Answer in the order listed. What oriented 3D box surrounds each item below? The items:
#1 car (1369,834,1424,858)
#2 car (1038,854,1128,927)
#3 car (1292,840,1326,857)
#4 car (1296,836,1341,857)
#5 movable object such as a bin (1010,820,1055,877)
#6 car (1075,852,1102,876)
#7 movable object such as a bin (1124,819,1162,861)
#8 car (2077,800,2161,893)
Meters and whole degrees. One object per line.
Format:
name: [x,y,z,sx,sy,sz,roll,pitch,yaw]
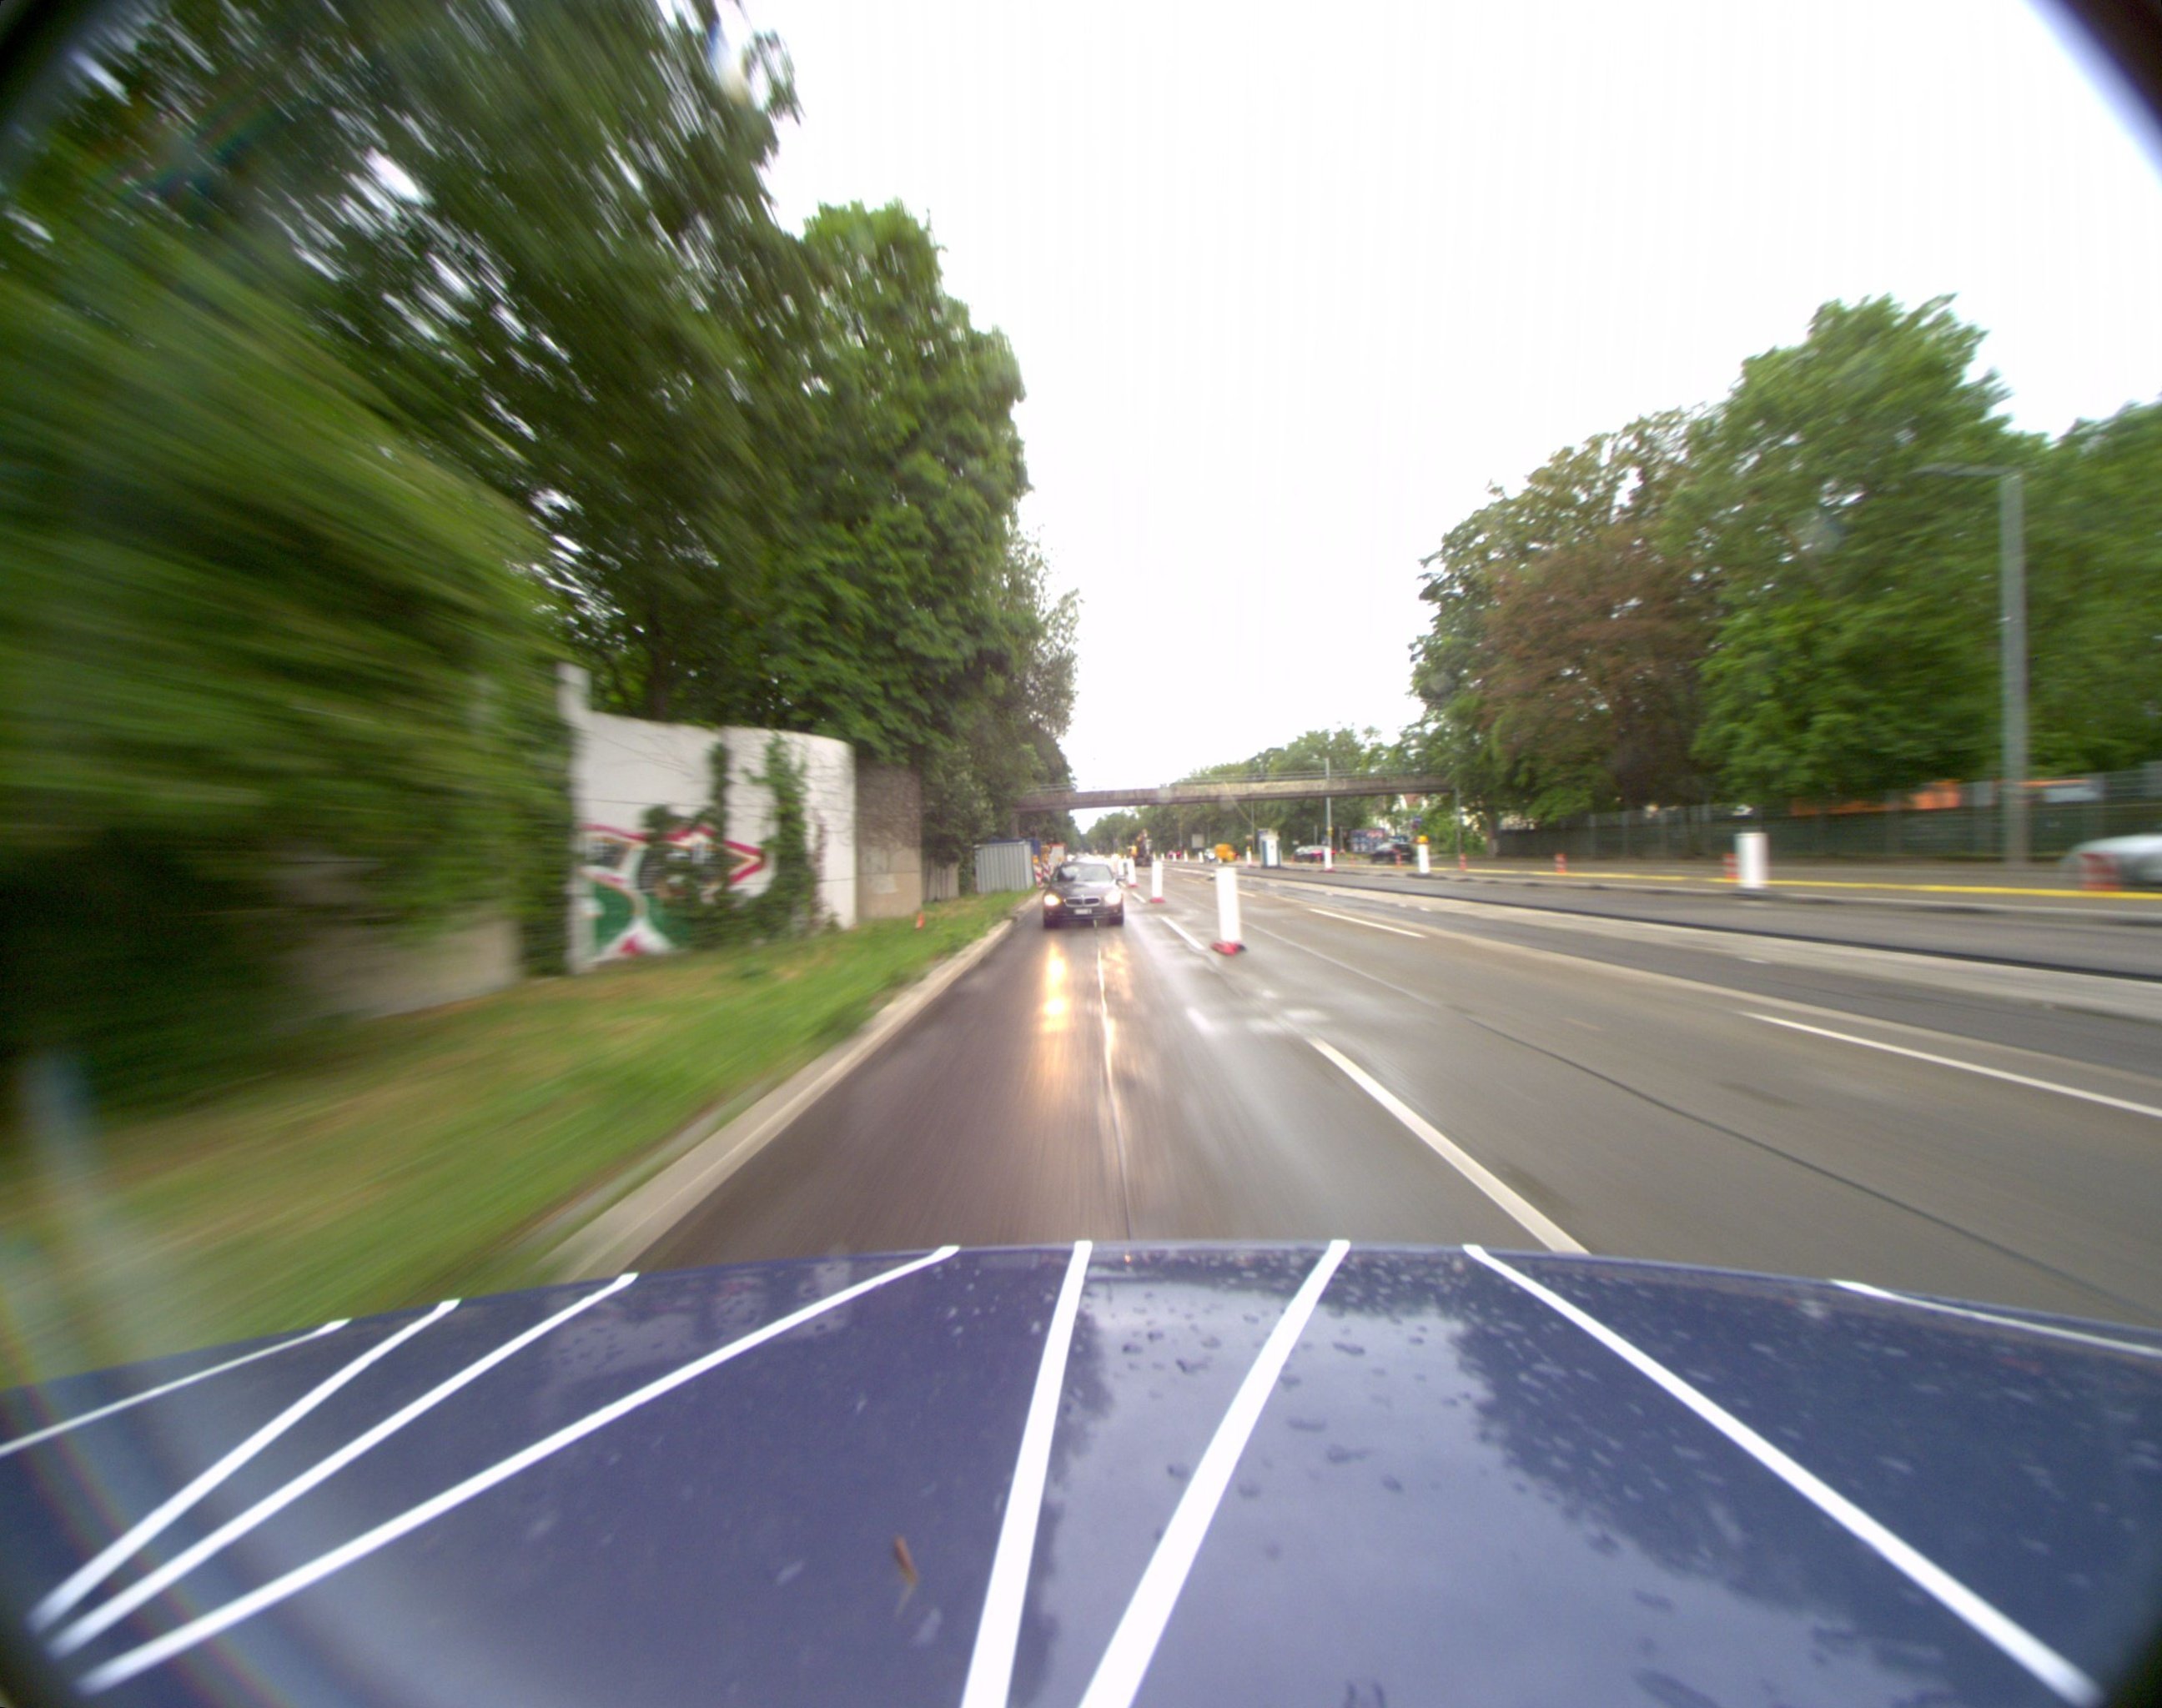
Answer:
car: [21.852,-0.538,52.772,1.998,1.509,4.304,-3,1,1]
car: [0.009,0.774,18.070,1.838,1.397,3.999,-3,1,-1]
car: [21.539,-0.562,72.043,1.998,1.340,4.564,-3,3,3]
car: [19.048,-0.562,61.164,2.083,1.504,5.089,-3,0,1]
movable object such as a bin: [-3.542,-0.443,57.470,2.890,3.917,6.104,-3,1,-1]
car: [0.588,0.777,61.376,1.998,1.650,4.229,-3,1,1]
movable object such as a bin: [7.179,-1.599,89.353,3.526,4.495,10.068,-3,1,1]
car: [18.463,-0.168,11.194,1.998,1.504,4.266,-3,0,1]
